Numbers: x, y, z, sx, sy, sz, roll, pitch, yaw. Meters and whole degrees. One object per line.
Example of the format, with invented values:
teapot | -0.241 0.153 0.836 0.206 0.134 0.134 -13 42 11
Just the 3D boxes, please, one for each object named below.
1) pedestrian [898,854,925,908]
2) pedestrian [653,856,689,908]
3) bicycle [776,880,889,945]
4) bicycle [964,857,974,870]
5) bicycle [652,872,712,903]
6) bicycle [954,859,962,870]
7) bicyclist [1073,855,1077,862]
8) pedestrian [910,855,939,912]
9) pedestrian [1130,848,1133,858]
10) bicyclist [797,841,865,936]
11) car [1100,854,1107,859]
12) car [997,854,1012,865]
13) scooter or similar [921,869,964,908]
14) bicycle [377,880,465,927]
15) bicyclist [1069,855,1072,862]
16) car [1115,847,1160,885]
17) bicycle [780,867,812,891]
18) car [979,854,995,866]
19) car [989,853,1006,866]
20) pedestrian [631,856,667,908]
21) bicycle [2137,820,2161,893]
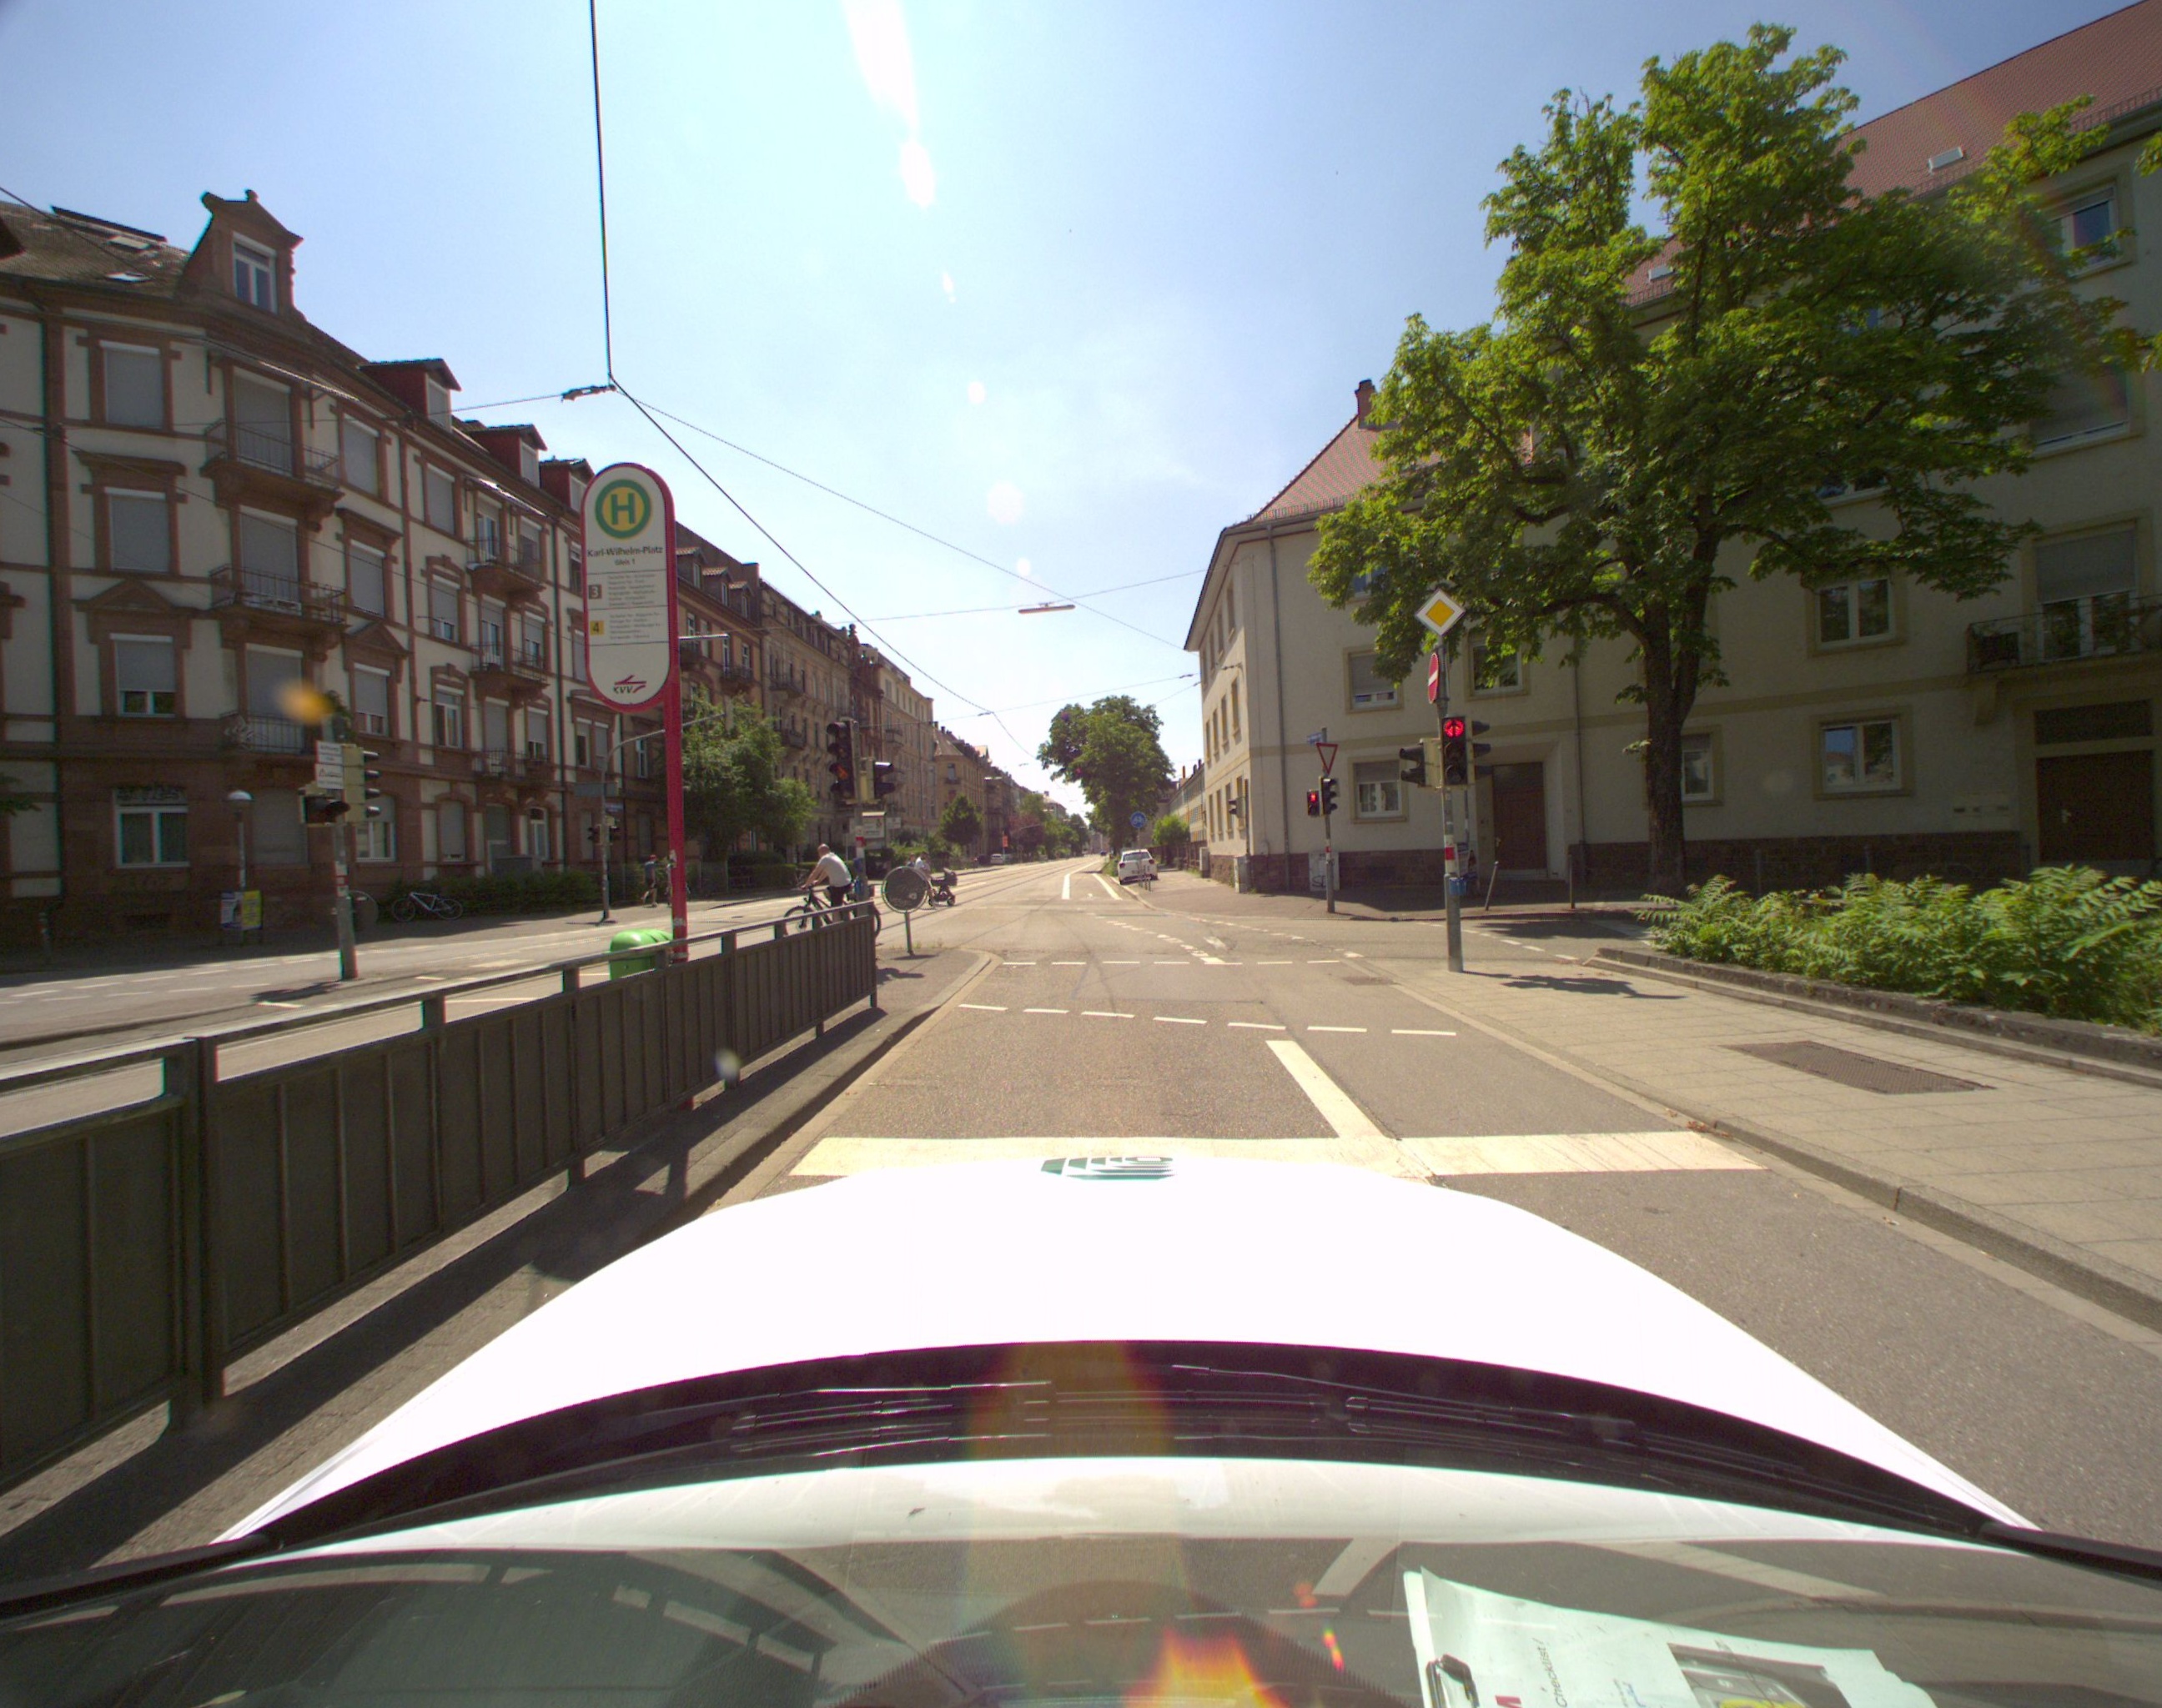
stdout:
pedestrian | -5.176 0.818 24.886 0.671 1.645 0.560 -1 -1 8
pedestrian | -14.811 0.990 29.457 0.812 1.822 0.874 0 1 3
bicycle | -4.294 1.001 14.087 1.747 1.057 0.703 -2 -1 16
bicycle | -11.712 0.947 85.136 0.675 1.278 1.918 -2 0 -1
bicycle | -15.669 1.295 32.082 0.934 1.136 2.774 0 -1 1
bicycle | -12.156 1.020 80.499 0.677 1.064 1.912 -2 0 -9
bicyclist | -1.546 1.106 210.786 0.724 1.818 1.080 0 -1 3
pedestrian | -4.586 0.860 23.861 0.671 1.645 0.560 -1 -1 8
pedestrian | 7.999 -0.183 129.245 0.519 1.562 0.573 -2 0 1
bicyclist | -4.323 0.583 14.100 0.840 1.592 0.703 -2 -1 16
car | 6.824 0.765 246.874 1.818 1.519 4.001 0 -1 2
car | -11.665 0.861 124.330 1.912 1.715 4.001 0 -1 2
scooter or similar | -4.214 1.042 24.846 1.197 1.155 0.558 0 -1 0
bicycle | -19.553 1.433 24.160 0.557 1.294 1.975 -1 -1 43
bicyclist | -2.701 1.139 211.202 0.724 1.818 1.080 0 -1 3
car | 2.526 0.526 37.422 1.808 1.516 4.001 -4 -1 2
bicycle | -14.410 1.249 41.254 0.936 1.136 2.767 0 -1 -7
car | -14.338 0.882 124.467 1.912 1.715 4.001 0 -1 2
car | -11.885 0.797 116.065 1.912 1.715 4.001 0 -1 2
pedestrian | -15.582 1.001 29.392 0.812 1.822 0.874 0 1 3
bicycle | 17.013 0.020 12.086 0.527 1.104 1.589 -2 0 -34
